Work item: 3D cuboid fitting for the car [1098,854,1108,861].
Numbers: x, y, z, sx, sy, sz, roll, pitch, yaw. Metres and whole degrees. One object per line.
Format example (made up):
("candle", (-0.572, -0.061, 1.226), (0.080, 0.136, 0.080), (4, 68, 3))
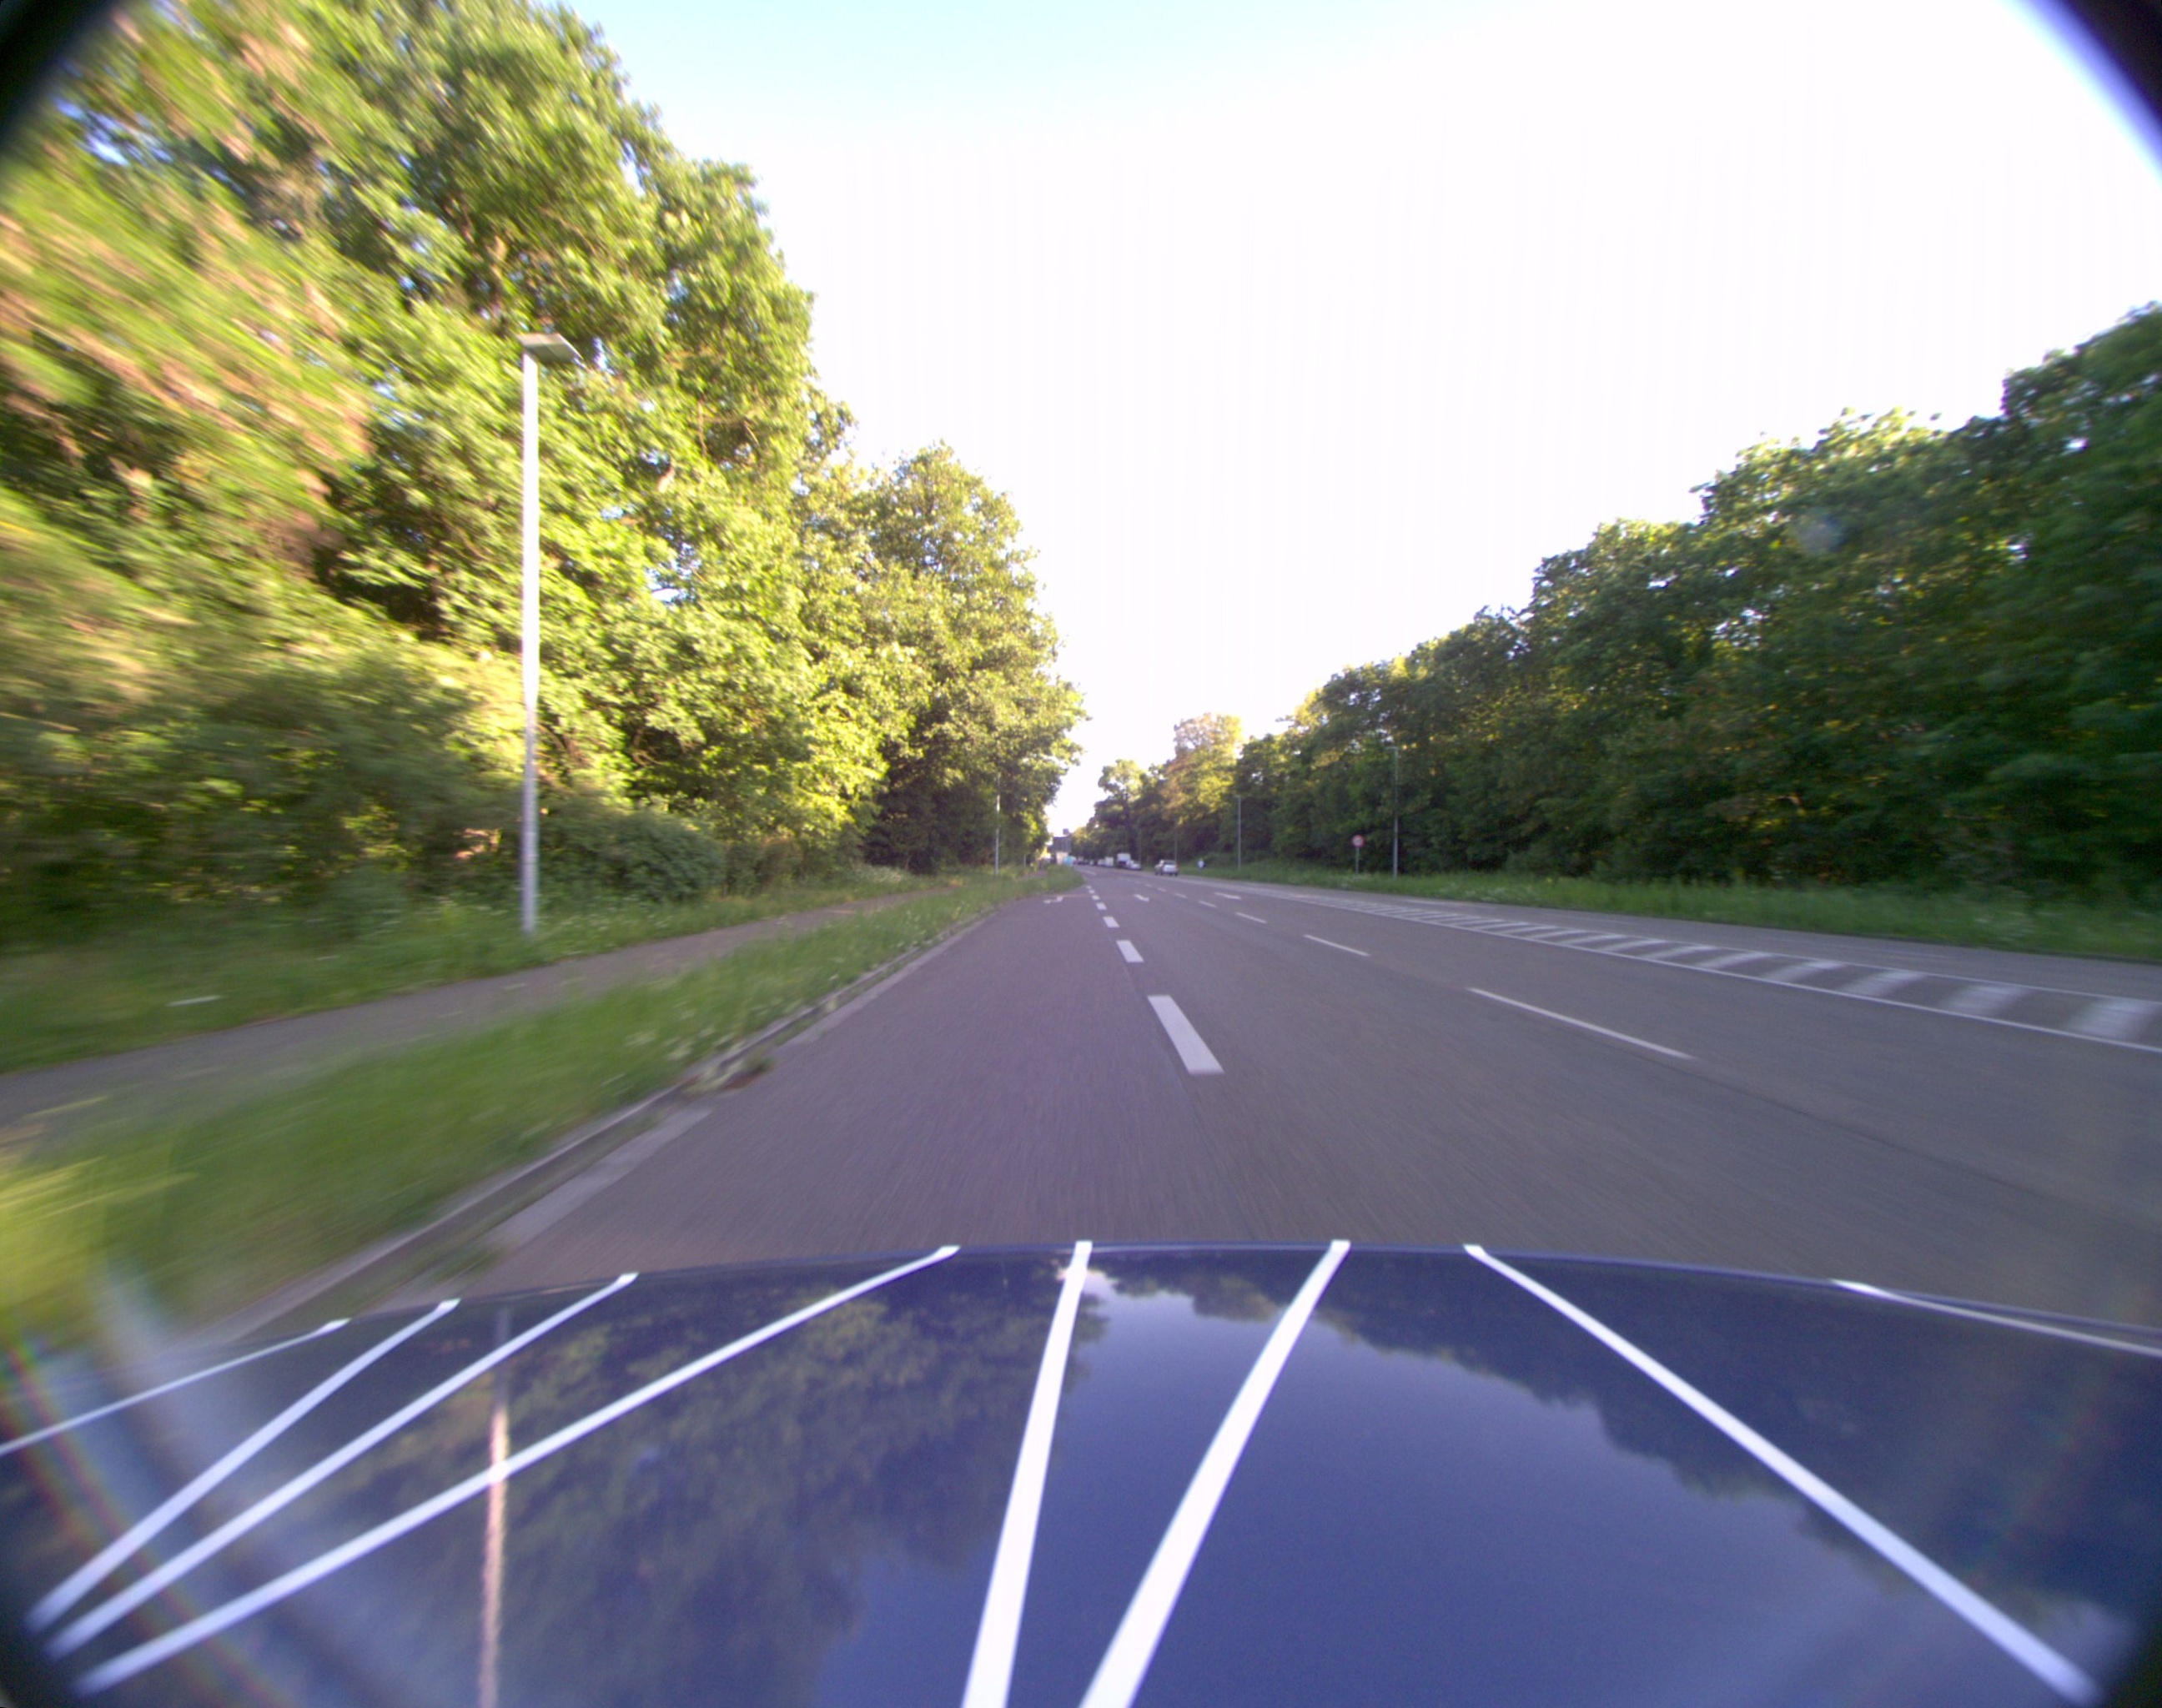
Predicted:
("car", (5.309, 0.873, 183.570), (1.807, 1.496, 3.911), (2, 0, -4))

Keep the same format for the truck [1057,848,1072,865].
("truck", (-2.914, 0.434, 134.540), (2.390, 2.855, 5.596), (-2, 1, -4))

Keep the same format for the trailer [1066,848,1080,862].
("trailer", (-1.259, 0.154, 116.820), (1.870, 2.165, 4.127), (-1, 1, -4))

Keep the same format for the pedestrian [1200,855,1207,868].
("pedestrian", (15.140, 0.936, 94.224), (0.713, 1.556, 0.826), (1, 0, -1))

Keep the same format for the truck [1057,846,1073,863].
("truck", (-3.142, 0.050, 144.328), (2.707, 3.218, 7.126), (0, 0, -4))

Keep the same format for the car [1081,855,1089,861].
("car", (1.092, 0.935, 200.466), (1.915, 1.455, 4.356), (2, 0, -4))

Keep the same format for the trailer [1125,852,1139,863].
("trailer", (8.567, 0.596, 127.131), (1.807, 1.719, 3.646), (2, 0, -4))

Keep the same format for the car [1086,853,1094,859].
("car", (2.782, 0.626, 235.599), (1.999, 2.002, 3.999), (0, 0, -2))

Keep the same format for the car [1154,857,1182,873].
("car", (8.560, 1.073, 74.923), (1.834, 1.446, 4.478), (3, 0, -5))

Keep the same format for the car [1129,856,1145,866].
("car", (8.966, 1.132, 122.041), (1.915, 1.455, 4.010), (2, 0, -4))

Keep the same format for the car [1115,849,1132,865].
("car", (7.764, 0.552, 139.170), (2.461, 2.830, 4.797), (2, 0, -4))

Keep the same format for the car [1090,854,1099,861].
("car", (3.756, 0.914, 211.473), (1.999, 2.002, 3.999), (0, 0, -4))

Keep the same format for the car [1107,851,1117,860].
("car", (6.950, 0.284, 171.091), (1.692, 2.089, 4.630), (2, 0, -4))
